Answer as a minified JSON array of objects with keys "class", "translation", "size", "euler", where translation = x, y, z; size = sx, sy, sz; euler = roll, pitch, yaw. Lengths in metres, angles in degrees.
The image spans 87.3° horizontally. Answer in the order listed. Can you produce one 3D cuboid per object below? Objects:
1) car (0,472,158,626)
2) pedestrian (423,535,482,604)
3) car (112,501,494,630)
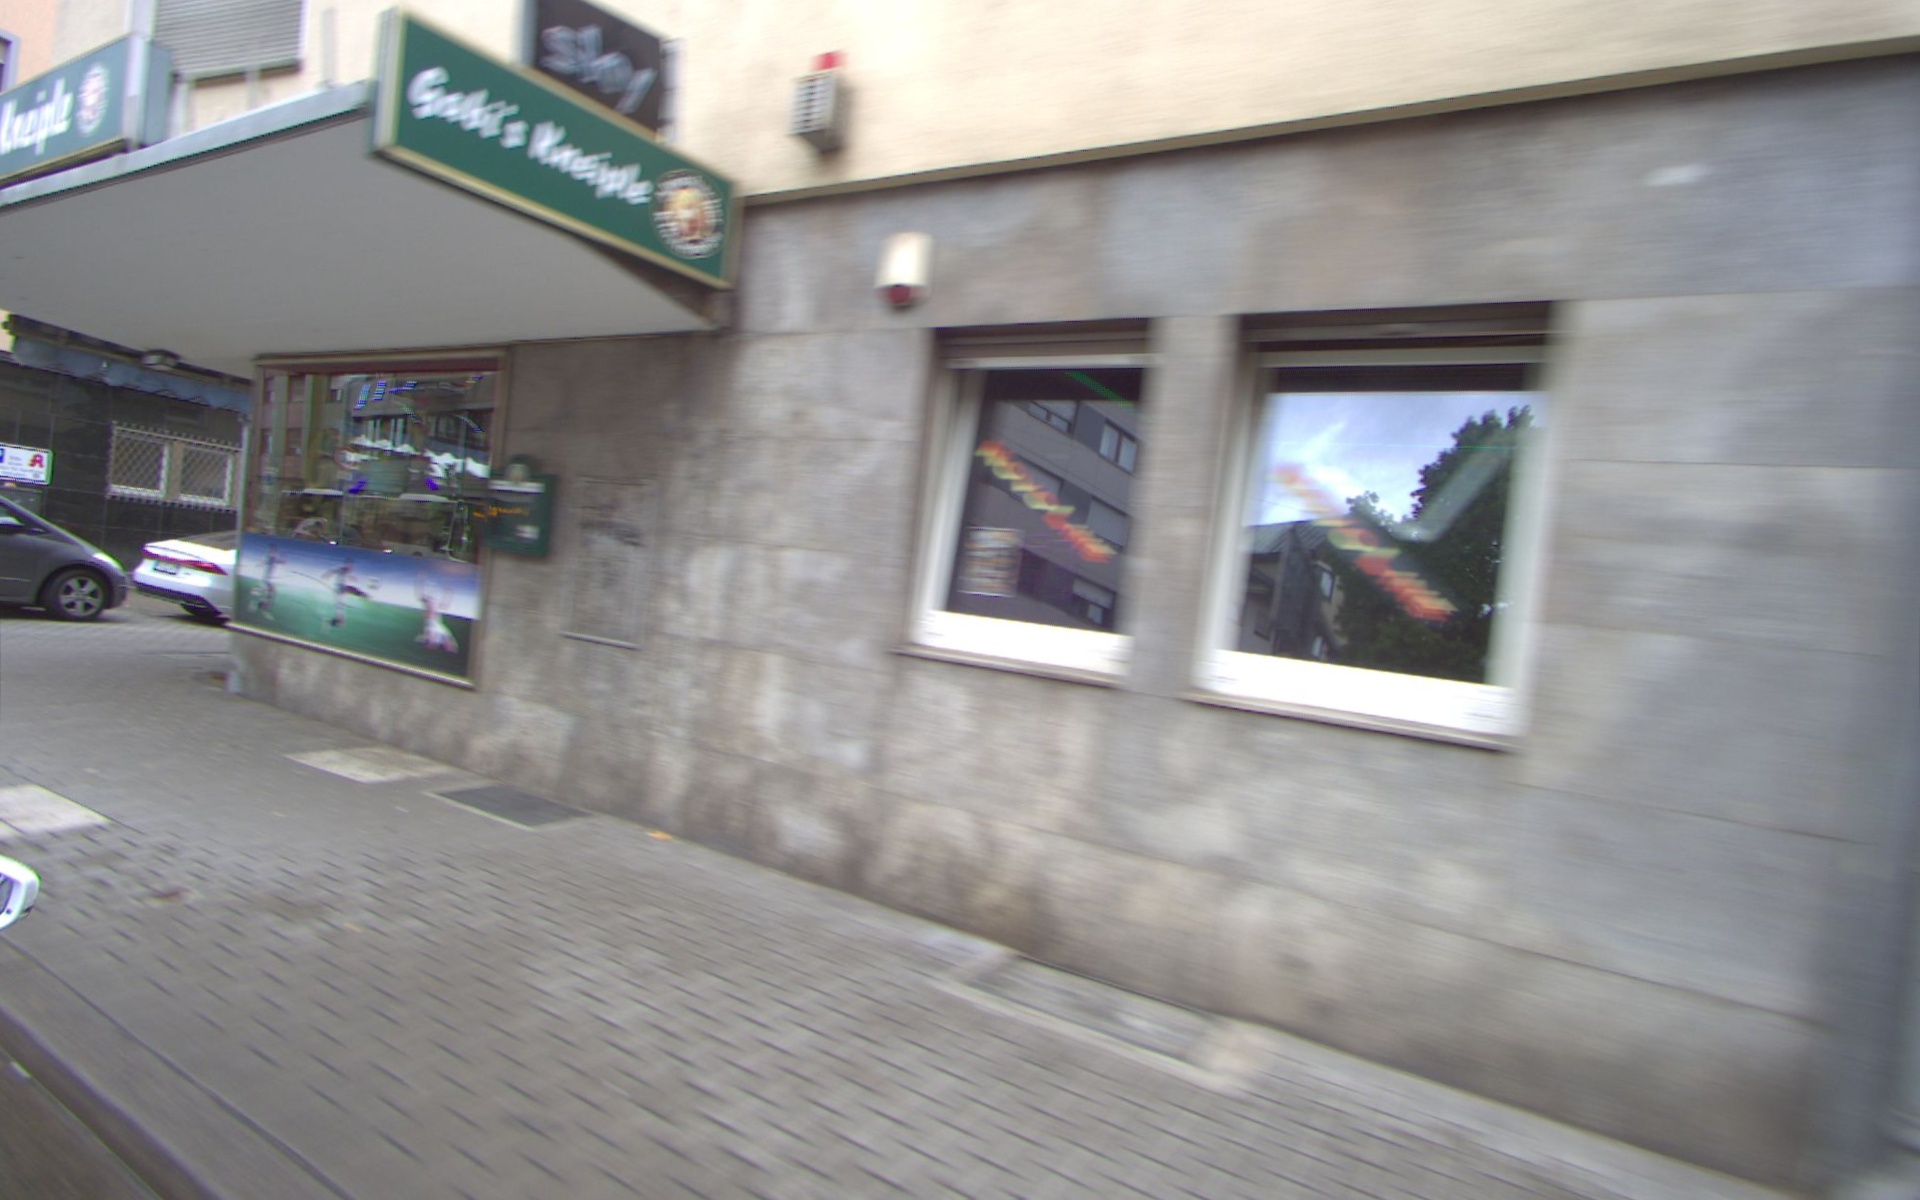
[{"class":"car","translation":[-11.202,-0.668,10.558],"size":[1.902,1.594,3.833],"euler":[6,0,25]},{"class":"pedestrian","translation":[-13.386,-0.800,26.529],"size":[0.935,1.688,0.860],"euler":[6,1,18]},{"class":"car","translation":[-9.586,-0.414,15.152],"size":[1.755,1.460,4.488],"euler":[6,0,25]}]
